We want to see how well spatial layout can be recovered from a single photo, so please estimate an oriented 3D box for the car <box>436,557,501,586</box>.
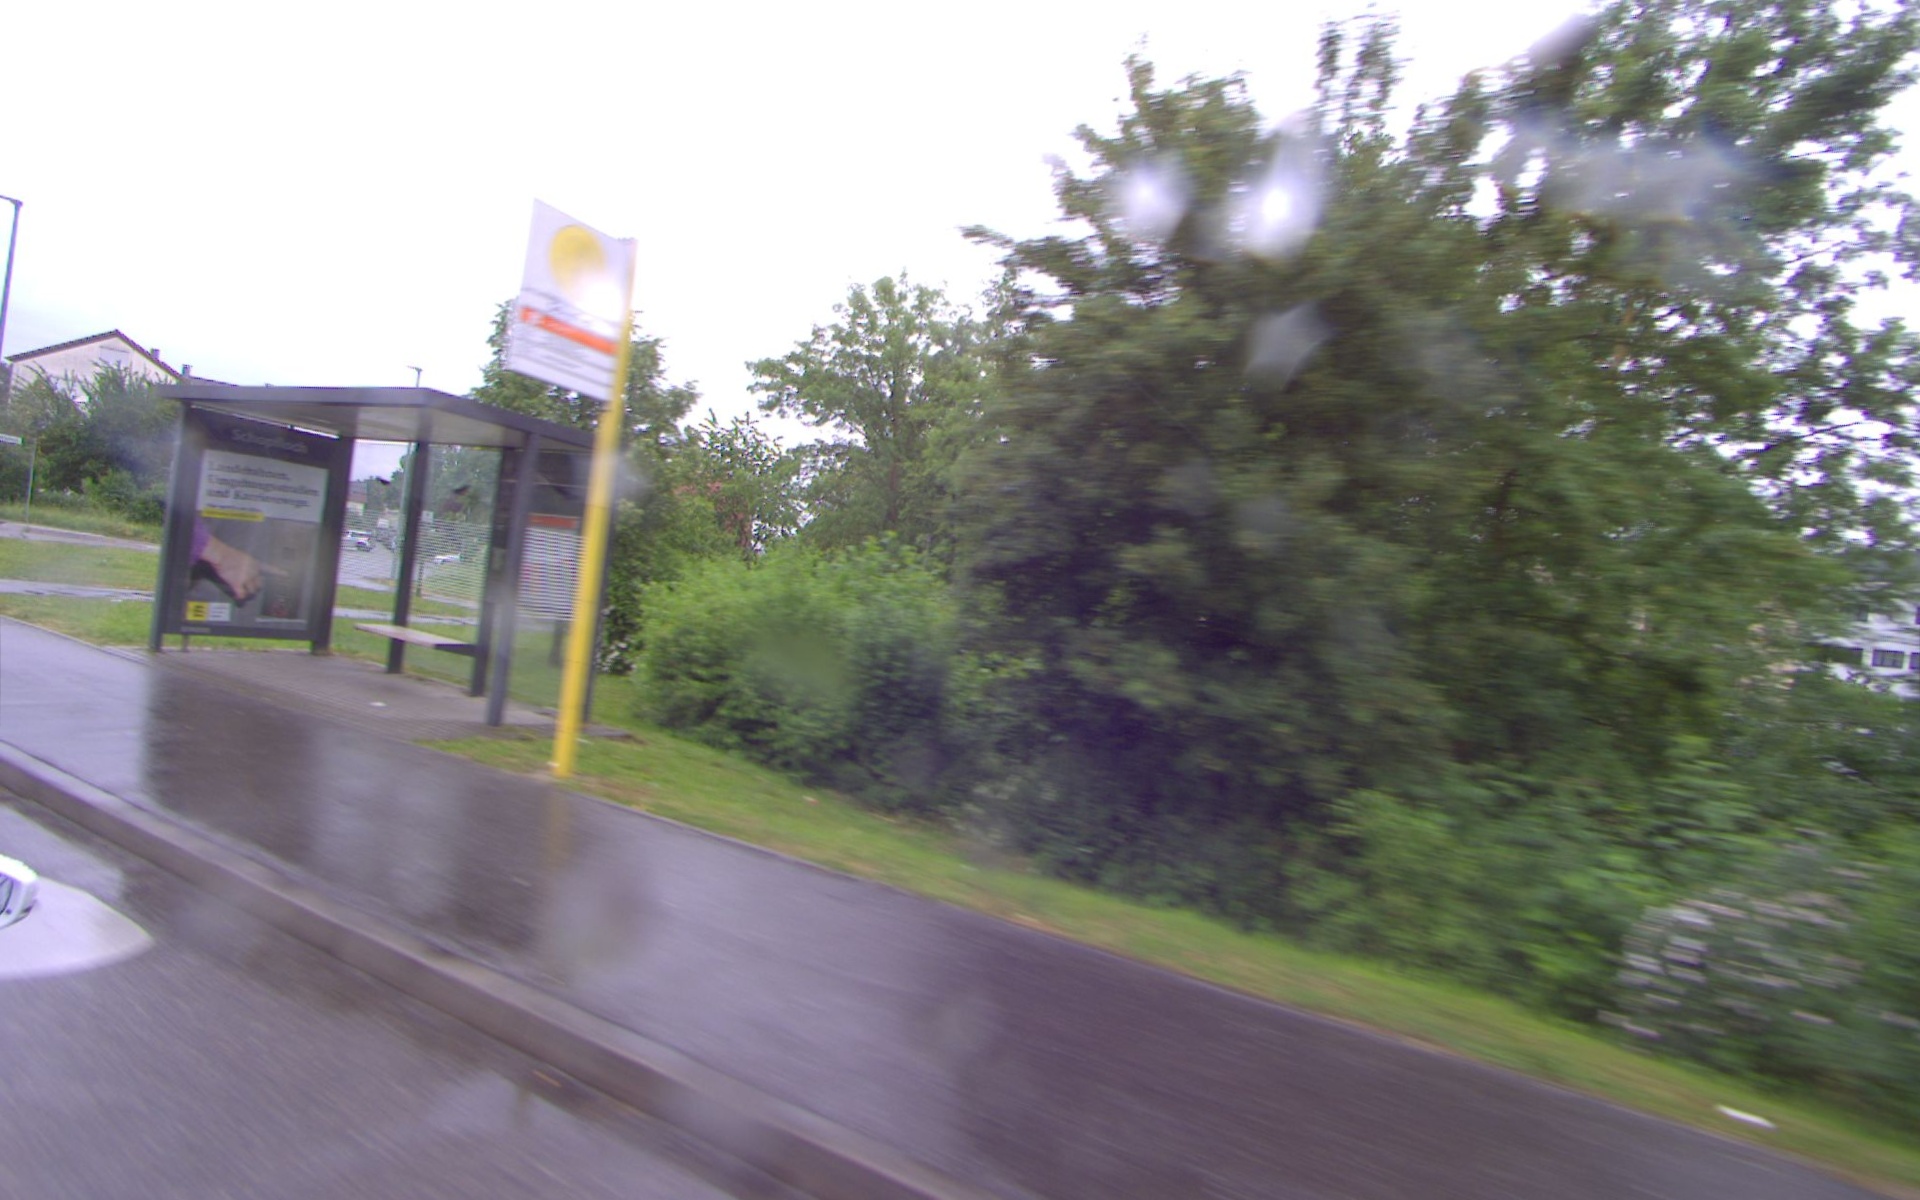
[{"bbox_3d":[-34.692,-1.996,71.019,3.959,1.390,1.770,9,-1,-30],"label":"car"}]
